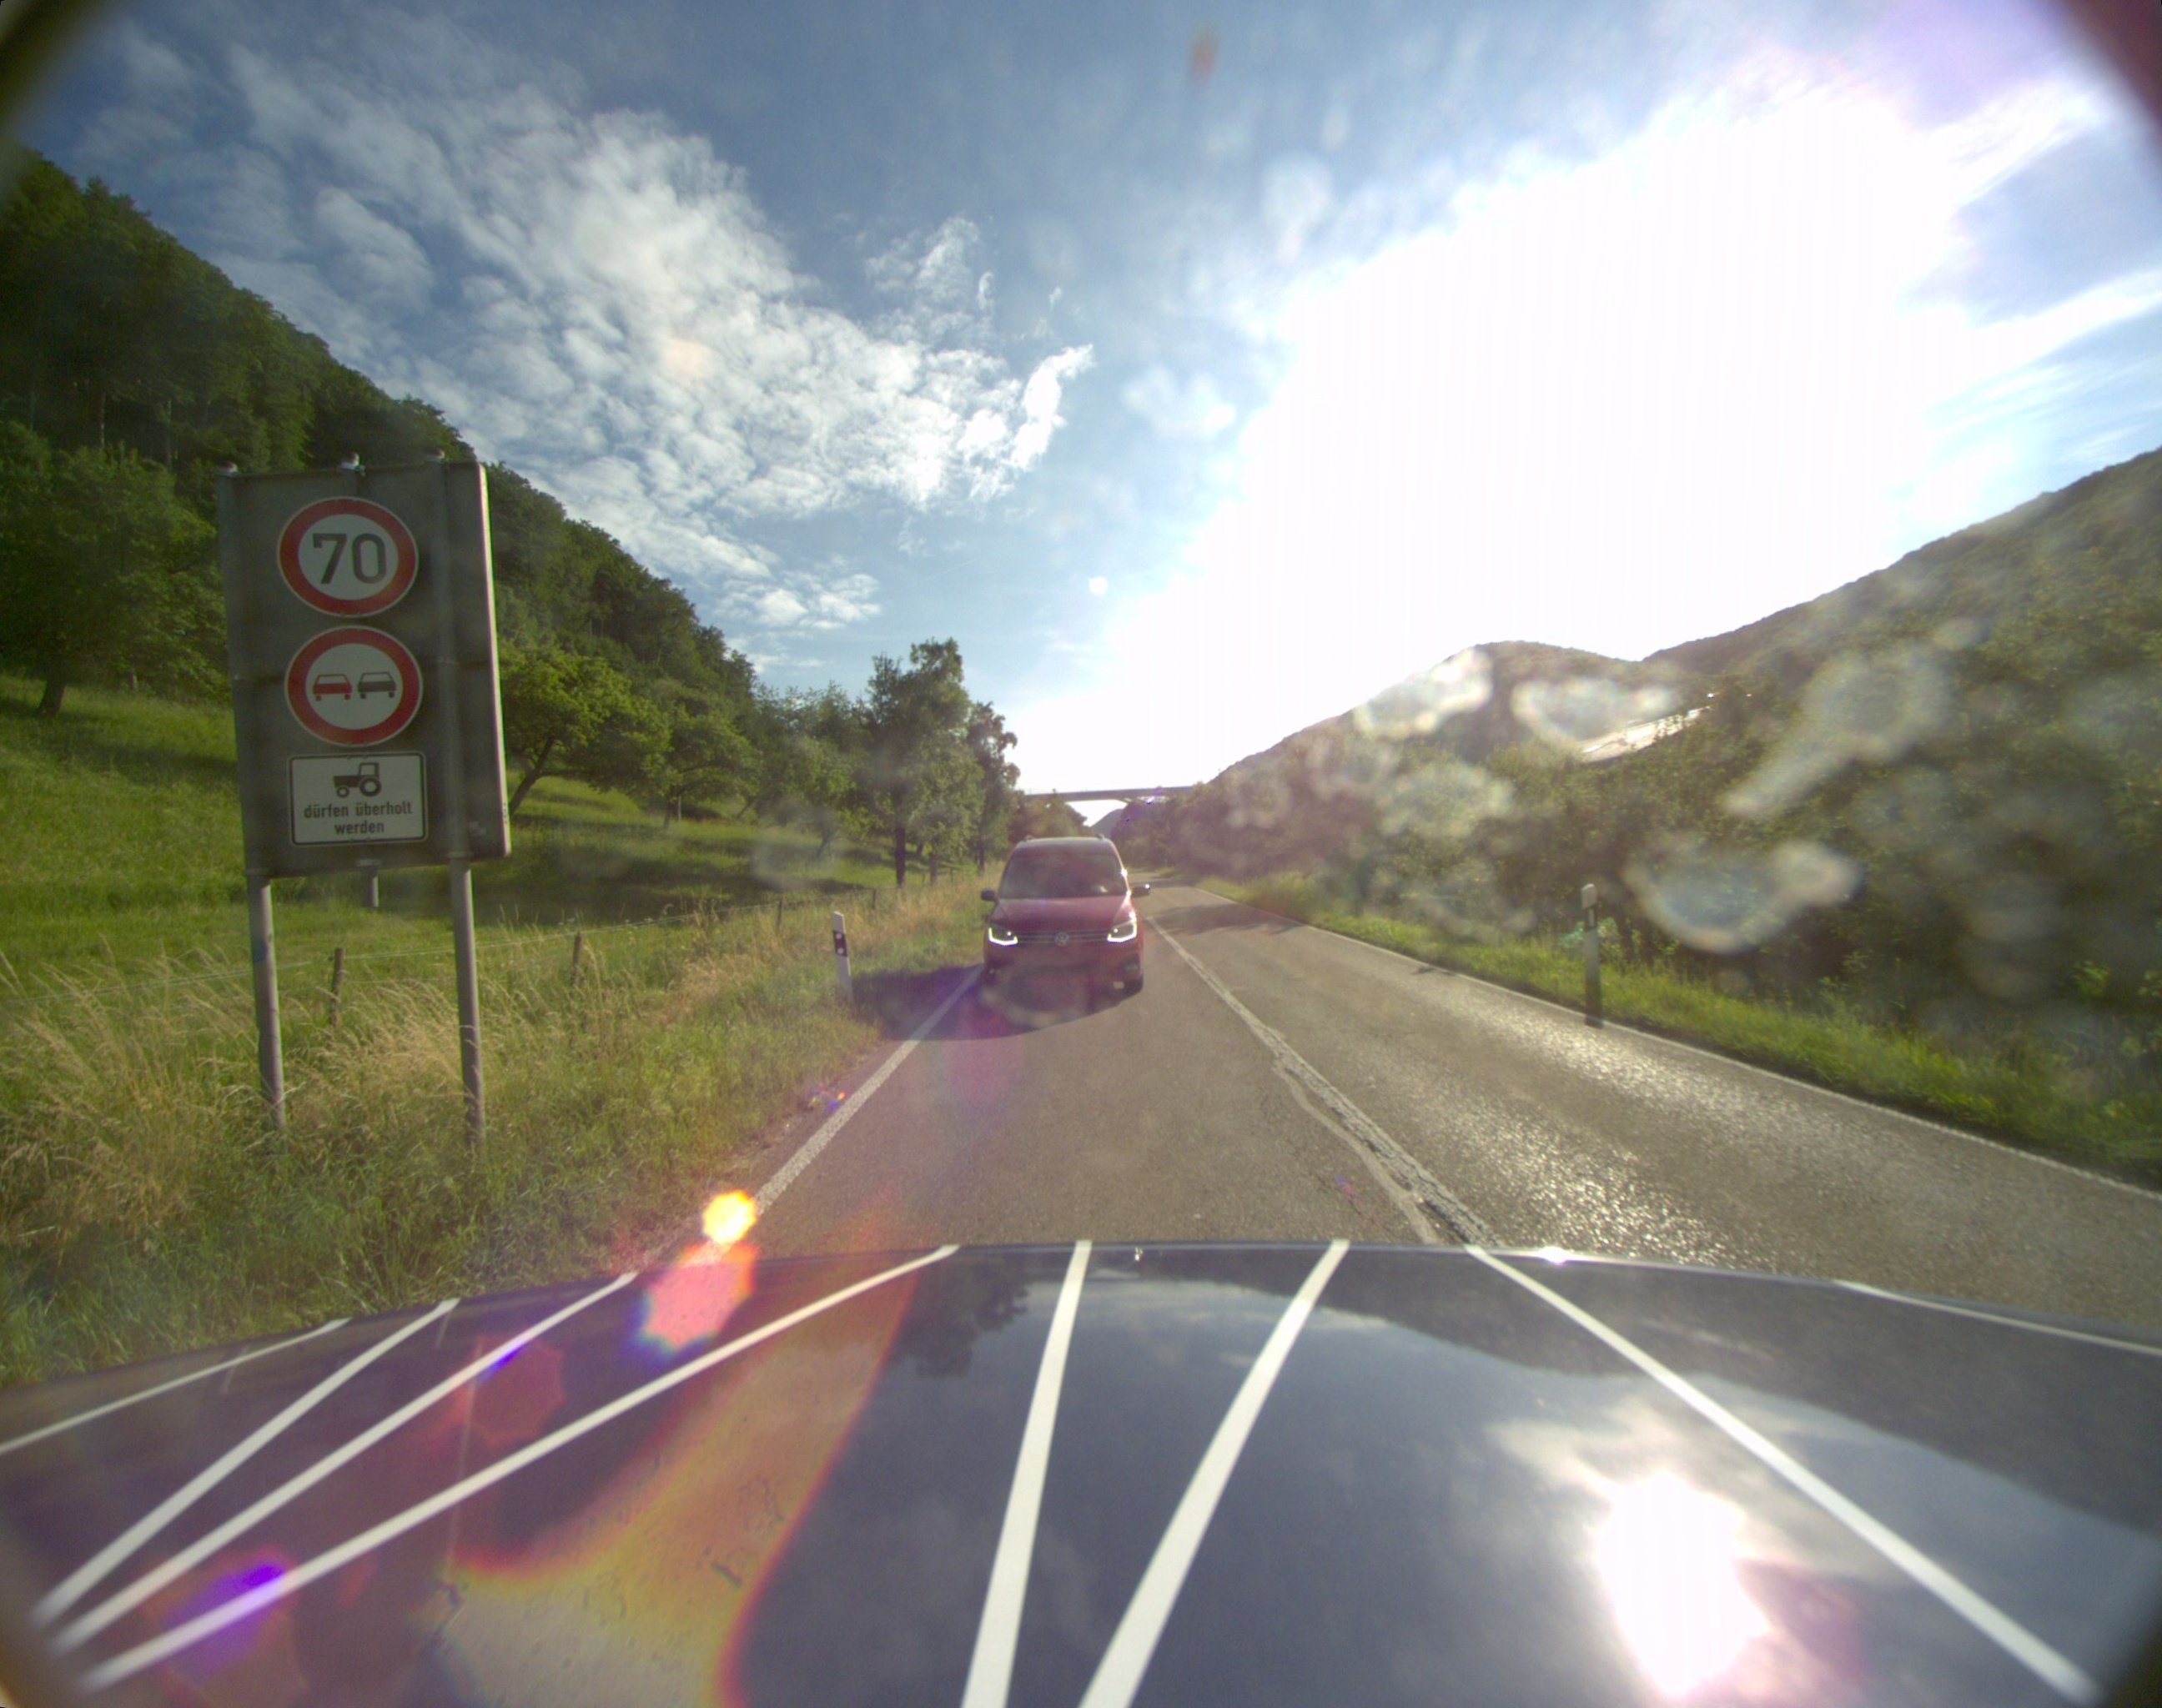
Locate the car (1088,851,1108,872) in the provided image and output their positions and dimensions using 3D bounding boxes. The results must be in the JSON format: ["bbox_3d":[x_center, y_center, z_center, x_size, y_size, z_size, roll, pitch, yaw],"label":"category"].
[{"bbox_3d":[1.769,0.723,79.311,1.998,2.002,3.999,-2,1,1],"label":"car"}]

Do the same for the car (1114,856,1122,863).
[{"bbox_3d":[7.771,1.131,159.763,1.696,1.401,3.663,-1,1,1],"label":"car"}]

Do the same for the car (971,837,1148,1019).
[{"bbox_3d":[-0.232,0.751,9.653,1.741,1.803,4.000,-1,0,-1],"label":"car"}]
